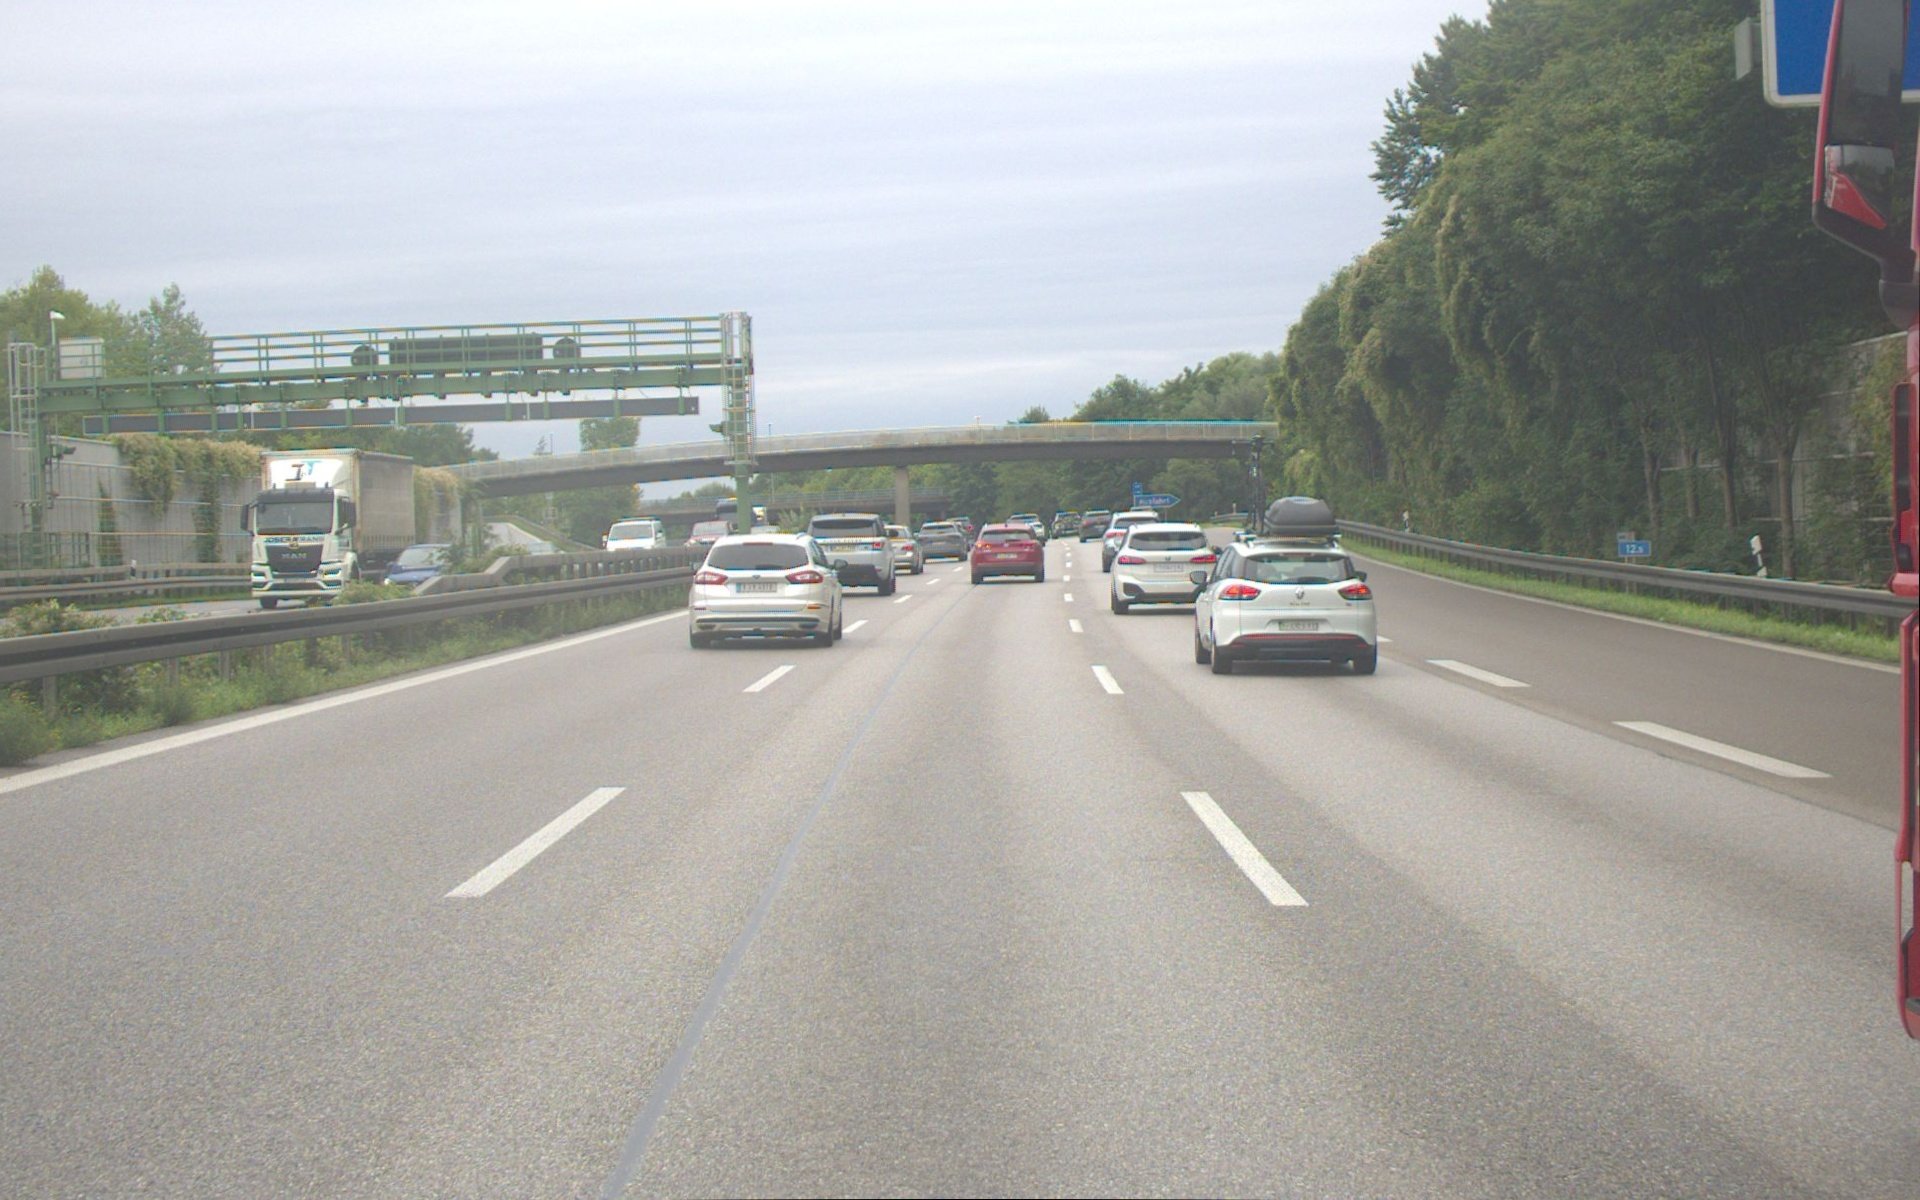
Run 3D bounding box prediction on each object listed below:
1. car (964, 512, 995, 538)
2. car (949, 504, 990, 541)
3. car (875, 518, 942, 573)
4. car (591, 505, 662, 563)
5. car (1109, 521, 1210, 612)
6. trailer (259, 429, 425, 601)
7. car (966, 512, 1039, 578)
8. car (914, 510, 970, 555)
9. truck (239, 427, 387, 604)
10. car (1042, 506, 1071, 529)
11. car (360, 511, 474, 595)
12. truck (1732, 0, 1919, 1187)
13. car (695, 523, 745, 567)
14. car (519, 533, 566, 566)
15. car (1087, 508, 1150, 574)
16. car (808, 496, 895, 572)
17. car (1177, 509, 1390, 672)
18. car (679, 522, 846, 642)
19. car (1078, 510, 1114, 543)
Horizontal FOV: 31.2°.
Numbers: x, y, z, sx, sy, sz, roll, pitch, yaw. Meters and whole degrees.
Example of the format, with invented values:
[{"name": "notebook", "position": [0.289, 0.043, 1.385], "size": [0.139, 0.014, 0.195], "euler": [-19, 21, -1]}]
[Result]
[{"name": "car", "position": [1.154, -4.375, 200.669], "size": [1.689, 1.417, 3.871], "euler": [3, 1, 1]}, {"name": "car", "position": [0.439, -3.573, 159.693], "size": [1.689, 1.634, 3.871], "euler": [-1, 1, 3]}, {"name": "car", "position": [-1.494, -1.623, 101.073], "size": [1.689, 1.501, 3.871], "euler": [-2, 1, 3]}, {"name": "car", "position": [-12.013, -2.360, 124.062], "size": [1.993, 2.007, 4.909], "euler": [0, 0, 1]}, {"name": "car", "position": [3.429, -0.573, 59.526], "size": [1.689, 1.501, 3.871], "euler": [0, 0, 3]}, {"name": "trailer", "position": [-16.765, -2.299, 93.828], "size": [2.668, 4.429, 8.573], "euler": [-1, 1, 2]}, {"name": "car", "position": [1.074, -1.385, 85.422], "size": [1.689, 1.501, 3.871], "euler": [3, 2, 1]}, {"name": "car", "position": [-0.632, -2.425, 123.060], "size": [1.689, 1.501, 3.871], "euler": [4, 2, 3]}, {"name": "truck", "position": [-16.853, -2.197, 89.817], "size": [2.649, 4.458, 5.283], "euler": [-1, 1, 2]}, {"name": "car", "position": [5.936, -5.088, 212.095], "size": [1.689, 1.417, 4.072], "euler": [-1, 1, 1]}, {"name": "car", "position": [-13.418, -1.152, 85.171], "size": [1.993, 2.007, 4.909], "euler": [0, 0, 1]}, {"name": "truck", "position": [3.599, -0.557, 6.670], "size": [2.695, 3.899, 6.557], "euler": [0, 1, 0]}, {"name": "car", "position": [-11.238, -2.563, 161.210], "size": [1.993, 2.007, 4.000], "euler": [0, 0, 1]}, {"name": "car", "position": [-20.537, -2.470, 169.108], "size": [1.791, 1.612, 4.000], "euler": [0, 0, 1]}, {"name": "car", "position": [4.380, -1.641, 95.022], "size": [1.689, 1.773, 3.871], "euler": [-1, 1, 3]}, {"name": "car", "position": [-2.330, -1.453, 74.637], "size": [1.689, 1.501, 3.872], "euler": [3, 2, 0]}, {"name": "car", "position": [3.453, -0.118, 37.540], "size": [1.816, 1.620, 5.030], "euler": [-1, 0, 0]}, {"name": "car", "position": [-2.552, -0.256, 45.453], "size": [1.892, 1.499, 5.030], "euler": [0, 1, 0]}, {"name": "car", "position": [6.504, -3.526, 163.918], "size": [1.689, 1.534, 3.871], "euler": [-1, 1, 3]}]
